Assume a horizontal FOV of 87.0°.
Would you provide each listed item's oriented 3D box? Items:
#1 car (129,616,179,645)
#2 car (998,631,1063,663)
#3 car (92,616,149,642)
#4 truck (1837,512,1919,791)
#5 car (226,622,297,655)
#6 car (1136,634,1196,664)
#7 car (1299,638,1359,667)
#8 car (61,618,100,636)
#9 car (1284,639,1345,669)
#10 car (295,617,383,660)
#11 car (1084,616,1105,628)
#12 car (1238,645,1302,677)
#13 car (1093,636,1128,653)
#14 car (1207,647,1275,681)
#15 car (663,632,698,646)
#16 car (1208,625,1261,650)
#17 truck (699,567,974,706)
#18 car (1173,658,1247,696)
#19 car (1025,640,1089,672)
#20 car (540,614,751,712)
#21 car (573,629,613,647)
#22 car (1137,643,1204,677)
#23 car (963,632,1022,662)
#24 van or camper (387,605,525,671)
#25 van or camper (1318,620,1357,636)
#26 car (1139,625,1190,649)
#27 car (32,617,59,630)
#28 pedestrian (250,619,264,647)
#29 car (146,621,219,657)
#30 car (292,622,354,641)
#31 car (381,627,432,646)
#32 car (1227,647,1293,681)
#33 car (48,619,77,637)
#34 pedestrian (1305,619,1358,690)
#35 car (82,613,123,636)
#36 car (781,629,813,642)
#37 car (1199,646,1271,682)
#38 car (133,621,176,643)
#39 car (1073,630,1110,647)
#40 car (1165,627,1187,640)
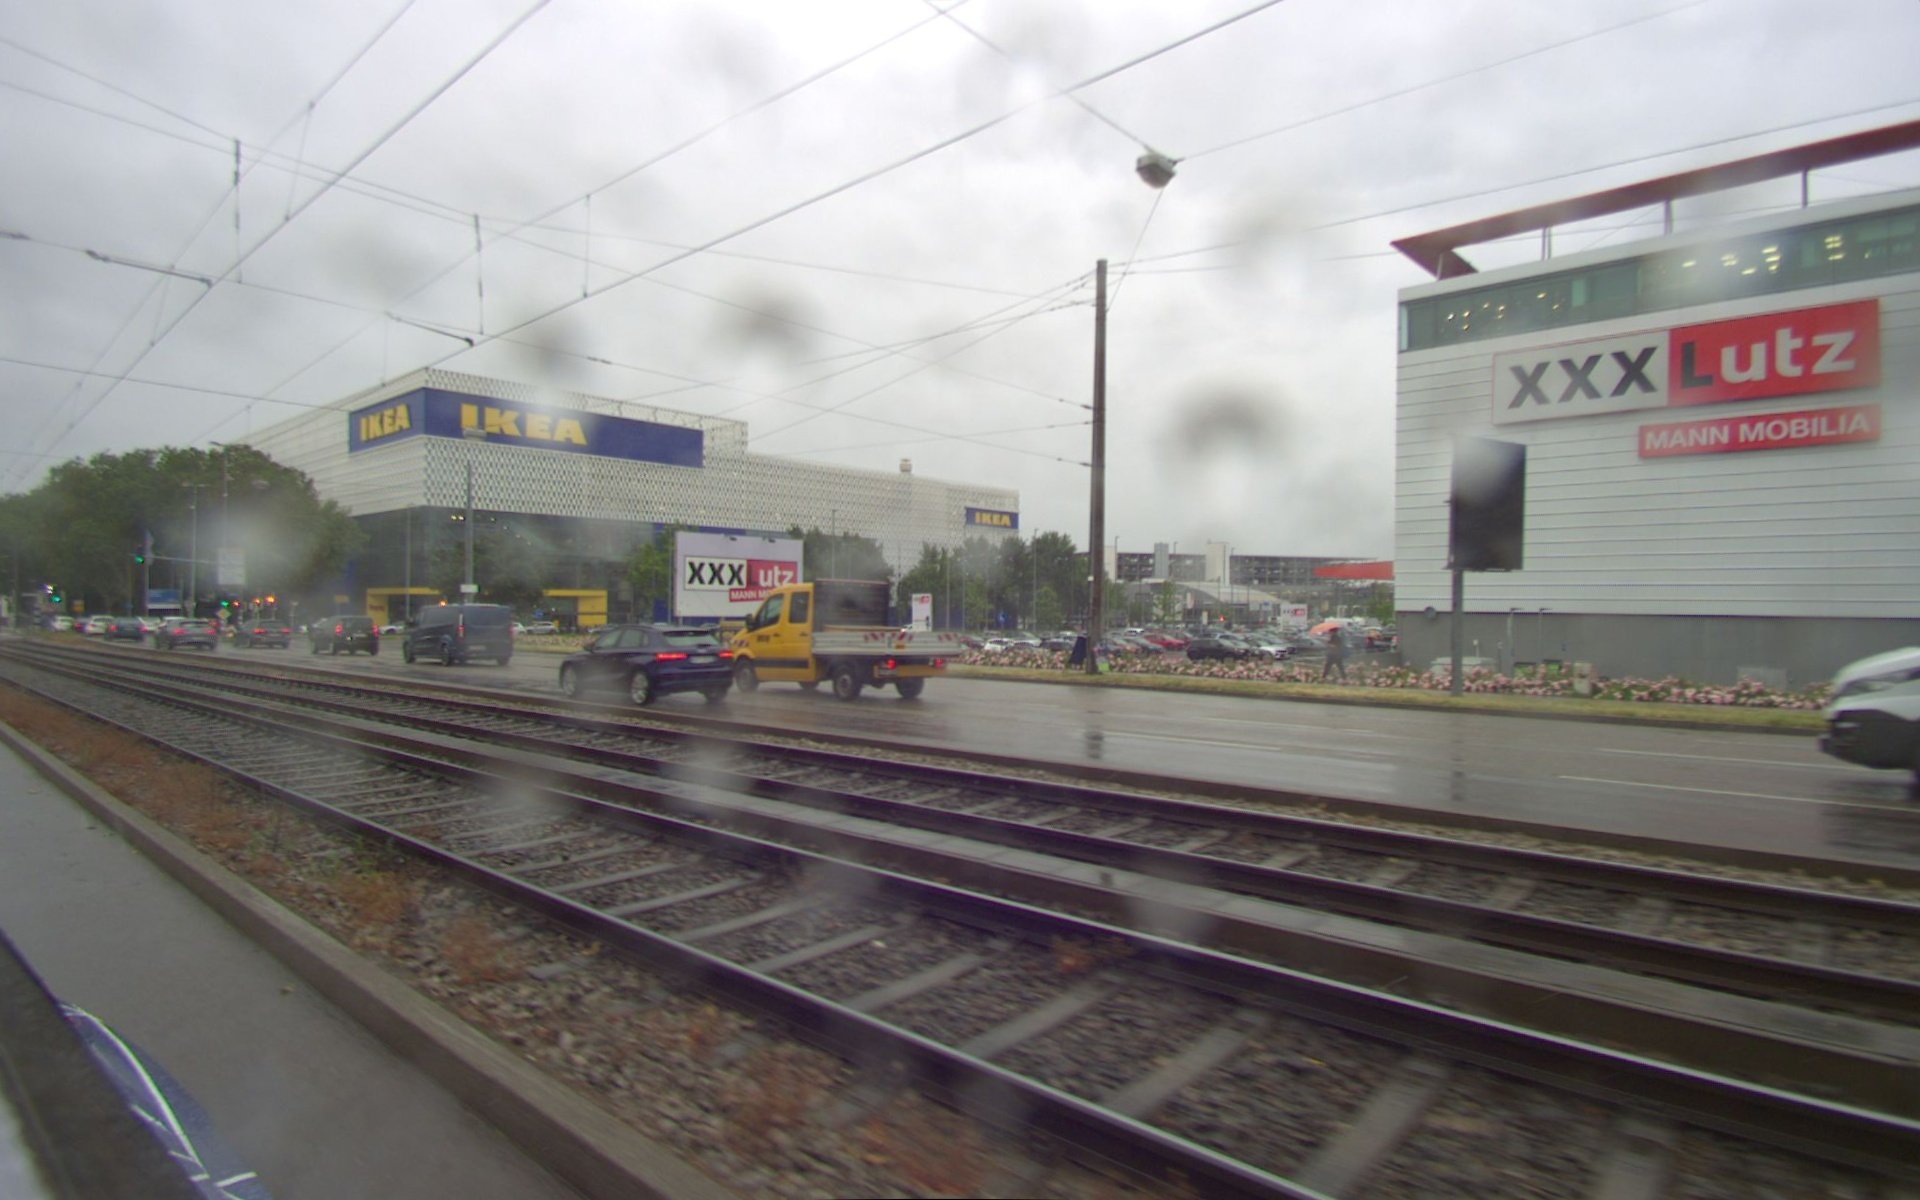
[{"bbox_3d":[-54.747,2.036,68.690,4.693,1.848,1.972,0,-1,43],"label":"car"},{"bbox_3d":[4.850,3.204,69.749,3.996,2.028,1.974,-1,1,39],"label":"car"},{"bbox_3d":[-51.345,1.752,61.863,4.671,1.468,1.972,0,-2,42],"label":"car"},{"bbox_3d":[11.567,0.466,7.776,7.219,2.476,2.408,-1,-2,43],"label":"truck"},{"bbox_3d":[-35.232,1.917,51.007,4.553,1.528,1.942,0,-2,42],"label":"car"},{"bbox_3d":[15.739,3.728,77.330,3.996,2.029,1.974,0,1,40],"label":"car"},{"bbox_3d":[28.784,4.036,79.043,3.995,2.029,1.974,0,1,39],"label":"car"},{"bbox_3d":[-73.818,2.296,84.948,5.083,1.434,1.901,-2,-5,43],"label":"car"},{"bbox_3d":[27.046,4.089,77.303,3.995,2.029,1.974,0,1,39],"label":"car"},{"bbox_3d":[-25.832,1.589,42.041,4.908,1.630,1.837,0,-3,44],"label":"car"},{"bbox_3d":[25.257,4.092,189.899,2.000,2.029,3.944,0,1,43],"label":"car"},{"bbox_3d":[22.289,4.366,72.802,3.996,2.029,1.974,0,1,40],"label":"car"},{"bbox_3d":[15.193,4.508,102.075,3.165,1.535,1.552,0,1,39],"label":"car"},{"bbox_3d":[18.984,4.309,68.377,3.996,2.029,1.974,0,1,40],"label":"car"},{"bbox_3d":[-33.403,4.670,120.992,1.603,1.417,3.770,0,1,44],"label":"car"},{"bbox_3d":[23.941,3.262,88.353,3.995,2.029,1.974,0,1,39],"label":"car"},{"bbox_3d":[-2.720,0.726,20.960,6.066,2.480,2.203,-1,-3,43],"label":"truck"},{"bbox_3d":[15.507,4.725,62.805,3.996,2.028,1.974,-1,1,39],"label":"car"},{"bbox_3d":[6.911,3.935,72.192,4.087,2.028,1.974,-1,1,39],"label":"car"},{"bbox_3d":[-6.092,1.090,19.324,4.535,1.635,1.799,-1,-1,42],"label":"car"},{"bbox_3d":[-41.110,4.238,113.400,1.683,1.686,3.956,0,1,44],"label":"car"},{"bbox_3d":[14.387,4.054,69.256,3.996,2.029,1.974,0,1,40],"label":"car"},{"bbox_3d":[2.444,3.474,75.981,3.996,2.028,1.974,-1,1,39],"label":"car"},{"bbox_3d":[-16.920,1.203,33.811,5.686,2.029,2.279,-1,-1,43],"label":"van or camper"},{"bbox_3d":[55.284,4.108,148.193,4.983,2.129,1.765,0,1,37],"label":"van or camper"},{"bbox_3d":[18.323,3.310,90.793,3.995,2.029,1.974,0,1,39],"label":"car"},{"bbox_3d":[-93.964,2.434,103.983,4.461,1.259,1.694,-2,0,43],"label":"car"},{"bbox_3d":[-59.050,2.739,85.046,0.906,2.261,0.992,-2,3,-35],"label":"pedestrian"},{"bbox_3d":[-36.035,1.780,46.876,4.688,1.505,1.838,0,-1,42],"label":"car"},{"bbox_3d":[-57.231,2.800,91.015,1.820,1.552,4.400,-2,-1,43],"label":"car"},{"bbox_3d":[-54.121,3.555,98.983,1.760,1.630,3.961,0,1,43],"label":"car"},{"bbox_3d":[20.779,4.406,70.160,3.996,2.029,1.974,0,1,40],"label":"car"},{"bbox_3d":[-84.473,2.650,95.199,4.048,1.547,1.693,-2,0,44],"label":"car"},{"bbox_3d":[9.825,1.428,26.747,1.050,1.775,0.813,0,2,44],"label":"pedestrian"},{"bbox_3d":[-64.047,1.872,75.552,4.328,1.585,1.853,-2,0,43],"label":"car"},{"bbox_3d":[-21.625,4.692,134.356,1.603,1.417,3.929,0,1,44],"label":"car"},{"bbox_3d":[17.692,4.068,65.116,3.996,2.029,1.974,0,1,40],"label":"car"},{"bbox_3d":[-65.095,2.581,81.760,4.839,1.618,1.888,-2,1,41],"label":"car"},{"bbox_3d":[12.777,3.733,98.493,3.165,1.535,1.552,0,1,39],"label":"car"},{"bbox_3d":[38.300,5.908,179.313,2.000,2.029,3.944,0,1,43],"label":"car"}]
